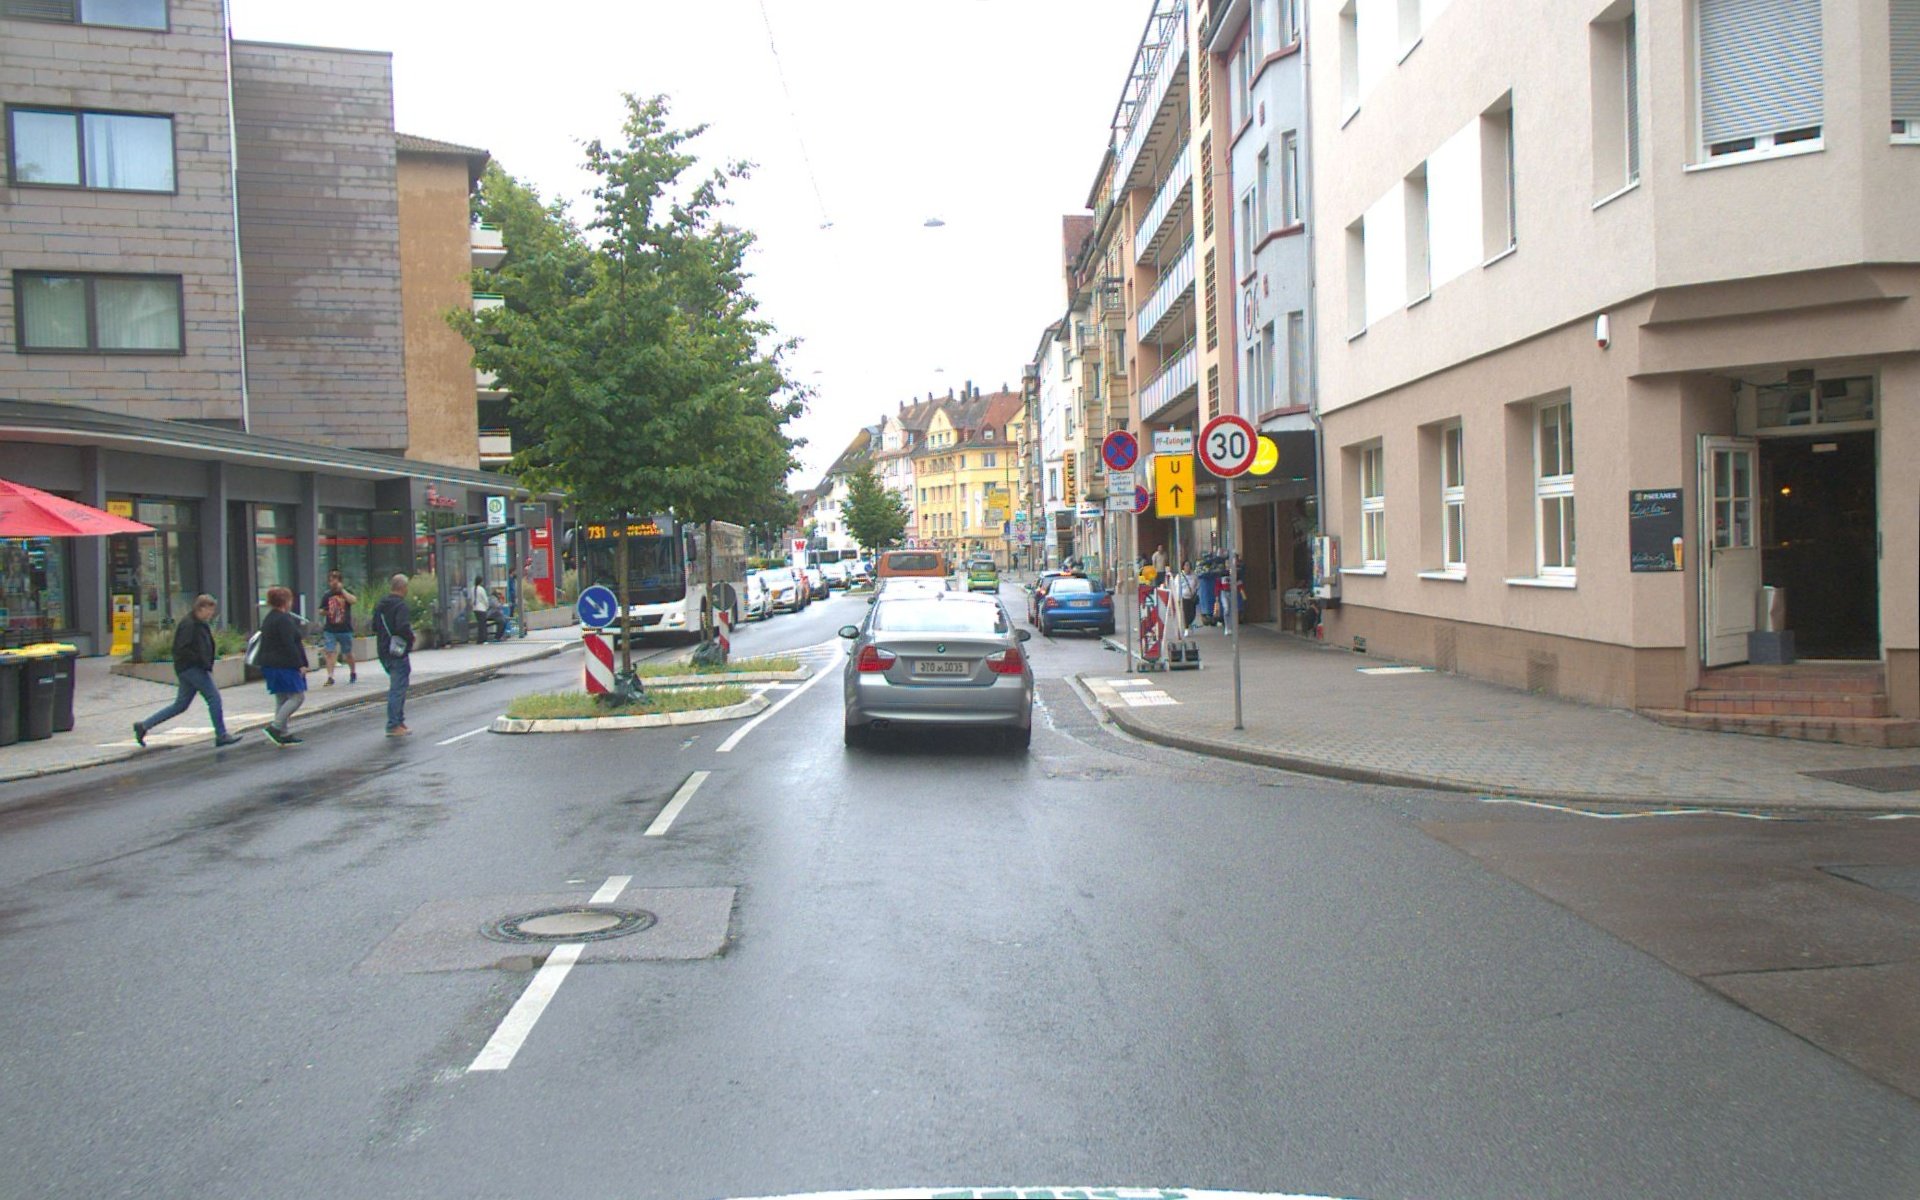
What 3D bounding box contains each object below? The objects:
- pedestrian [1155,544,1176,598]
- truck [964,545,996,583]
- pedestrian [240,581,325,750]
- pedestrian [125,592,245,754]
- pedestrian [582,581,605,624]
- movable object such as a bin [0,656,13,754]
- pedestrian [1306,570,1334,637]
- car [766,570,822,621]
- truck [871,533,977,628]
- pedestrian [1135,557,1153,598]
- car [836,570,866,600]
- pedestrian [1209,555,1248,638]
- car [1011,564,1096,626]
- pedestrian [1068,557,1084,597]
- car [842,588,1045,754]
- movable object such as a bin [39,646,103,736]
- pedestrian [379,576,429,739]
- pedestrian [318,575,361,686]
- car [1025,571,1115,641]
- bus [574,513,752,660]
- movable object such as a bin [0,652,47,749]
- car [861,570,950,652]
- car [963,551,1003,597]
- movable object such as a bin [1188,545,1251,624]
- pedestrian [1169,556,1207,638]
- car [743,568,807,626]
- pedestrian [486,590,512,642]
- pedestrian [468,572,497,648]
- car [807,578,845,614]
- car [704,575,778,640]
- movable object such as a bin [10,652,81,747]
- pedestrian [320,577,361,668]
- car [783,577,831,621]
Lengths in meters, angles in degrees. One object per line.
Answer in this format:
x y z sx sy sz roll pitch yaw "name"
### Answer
6.533 -0.925 52.628 0.602 1.690 0.755 1 -1 6 "pedestrian"
1.450 -2.582 120.695 2.172 2.589 4.778 1 -1 -1 "truck"
-7.327 0.690 17.909 0.729 1.738 0.676 -4 1 -21 "pedestrian"
-8.724 0.805 18.648 1.043 1.761 0.712 -1 1 -10 "pedestrian"
-11.955 0.084 53.930 0.607 1.402 0.544 1 -1 1 "pedestrian"
-11.152 1.200 18.597 0.542 1.100 0.731 -2 -1 0 "movable object such as a bin"
6.798 0.064 31.236 0.404 1.223 0.357 -4 1 2 "pedestrian"
-6.957 -0.159 69.658 1.953 2.049 3.999 1 -1 -1 "car"
-0.972 -0.456 41.653 2.173 2.153 4.645 2 0 -7 "truck"
6.544 -0.795 58.809 0.552 1.446 0.797 1 -1 13 "pedestrian"
-7.851 -1.090 119.310 1.953 2.049 3.999 1 -1 -1 "car"
5.523 -0.064 34.080 0.734 1.690 0.755 1 -1 6 "pedestrian"
2.470 -0.109 44.587 1.953 1.546 3.999 1 -1 -1 "car"
4.207 -0.829 59.984 0.511 1.446 0.430 1 -1 9 "pedestrian"
-0.145 0.592 15.660 1.720 1.386 3.165 0 1 0 "car"
-11.135 1.136 20.712 0.462 1.090 0.538 -3 -1 36 "movable object such as a bin"
-6.103 0.618 18.141 0.458 1.739 0.541 -2 0 -20 "pedestrian"
-10.309 0.503 27.486 0.533 1.821 0.465 1 -1 -9 "pedestrian"
2.553 0.159 39.283 1.772 1.546 3.999 1 -1 -1 "car"
-7.407 -0.220 43.068 2.626 3.257 11.952 1 -1 -1 "bus"
-11.108 1.171 19.347 0.480 1.100 0.606 -2 -1 0 "movable object such as a bin"
-1.051 0.224 31.466 1.570 1.445 3.286 1 -1 -2 "car"
1.077 -1.221 79.236 1.671 2.049 3.998 1 -1 -2 "car"
5.937 -0.344 37.969 1.100 1.732 1.433 -2 -1 -3 "movable object such as a bin"
4.778 -0.059 34.635 0.733 1.690 0.837 1 -1 6 "pedestrian"
-6.794 -0.075 61.117 1.953 2.049 3.999 1 -1 -1 "car"
-11.179 0.387 40.106 0.455 1.252 0.544 1 -1 1 "pedestrian"
-11.037 0.230 38.254 0.532 1.739 0.465 1 -1 -7 "pedestrian"
-7.951 -0.227 98.115 1.953 2.049 3.999 1 -1 -1 "car"
-7.229 0.263 54.858 1.953 2.049 3.999 1 -1 -1 "car"
-11.040 1.190 19.980 0.480 1.100 0.606 -2 -1 0 "movable object such as a bin"
-11.991 0.441 32.023 0.647 1.735 0.659 1 -1 -17 "pedestrian"
-7.353 -0.027 79.746 1.953 2.049 3.999 1 -1 -1 "car"
